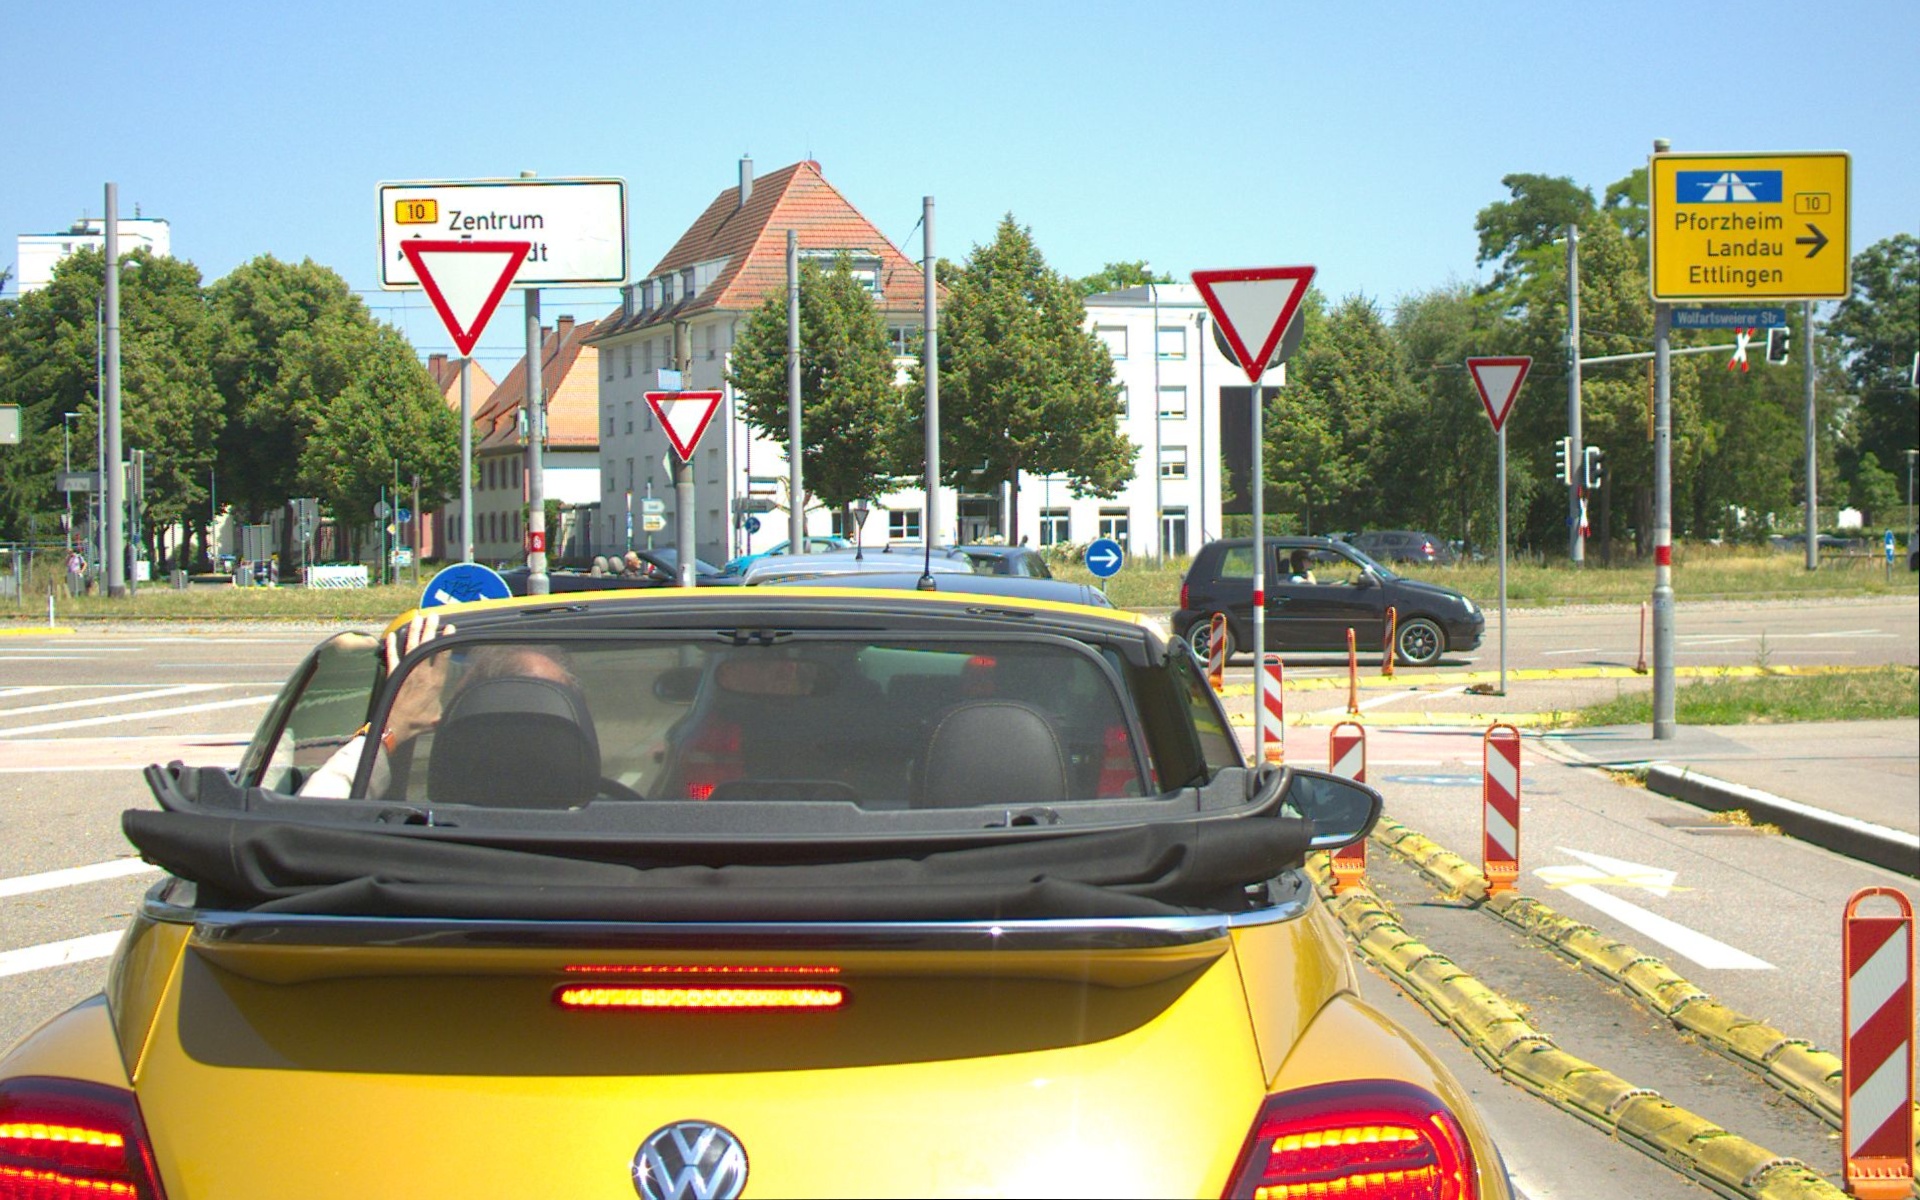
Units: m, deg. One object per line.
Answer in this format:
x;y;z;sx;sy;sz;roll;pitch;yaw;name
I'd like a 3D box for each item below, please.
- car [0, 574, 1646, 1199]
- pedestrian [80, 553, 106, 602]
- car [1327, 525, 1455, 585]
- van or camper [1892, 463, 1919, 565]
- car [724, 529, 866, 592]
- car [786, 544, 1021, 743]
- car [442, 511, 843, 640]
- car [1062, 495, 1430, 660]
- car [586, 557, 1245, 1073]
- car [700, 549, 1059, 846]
-0.309;0.689;4.878;1.752;1.417;3.778;0;1;-1;car
-28.138;-0.737;111.554;0.498;1.558;0.591;0;1;33;pedestrian
11.639;-1.227;92.948;3.217;1.601;1.651;0;1;0;car
27.440;-2.215;88.272;2.505;2.684;7.514;0;1;-25;van or camper
-4.849;-1.165;100.793;3.986;1.831;2.001;0;1;-8;car
-0.439;0.293;27.472;1.736;1.472;4.000;0;1;-1;car
-4.217;-0.344;45.709;4.943;1.650;1.998;0;1;21;car
3.282;-0.276;39.096;3.989;1.809;1.999;0;1;11;car
-0.145;0.580;11.659;1.848;1.437;4.000;0;1;-1;car
-0.412;0.442;18.671;1.736;1.437;4.000;0;1;-1;car
